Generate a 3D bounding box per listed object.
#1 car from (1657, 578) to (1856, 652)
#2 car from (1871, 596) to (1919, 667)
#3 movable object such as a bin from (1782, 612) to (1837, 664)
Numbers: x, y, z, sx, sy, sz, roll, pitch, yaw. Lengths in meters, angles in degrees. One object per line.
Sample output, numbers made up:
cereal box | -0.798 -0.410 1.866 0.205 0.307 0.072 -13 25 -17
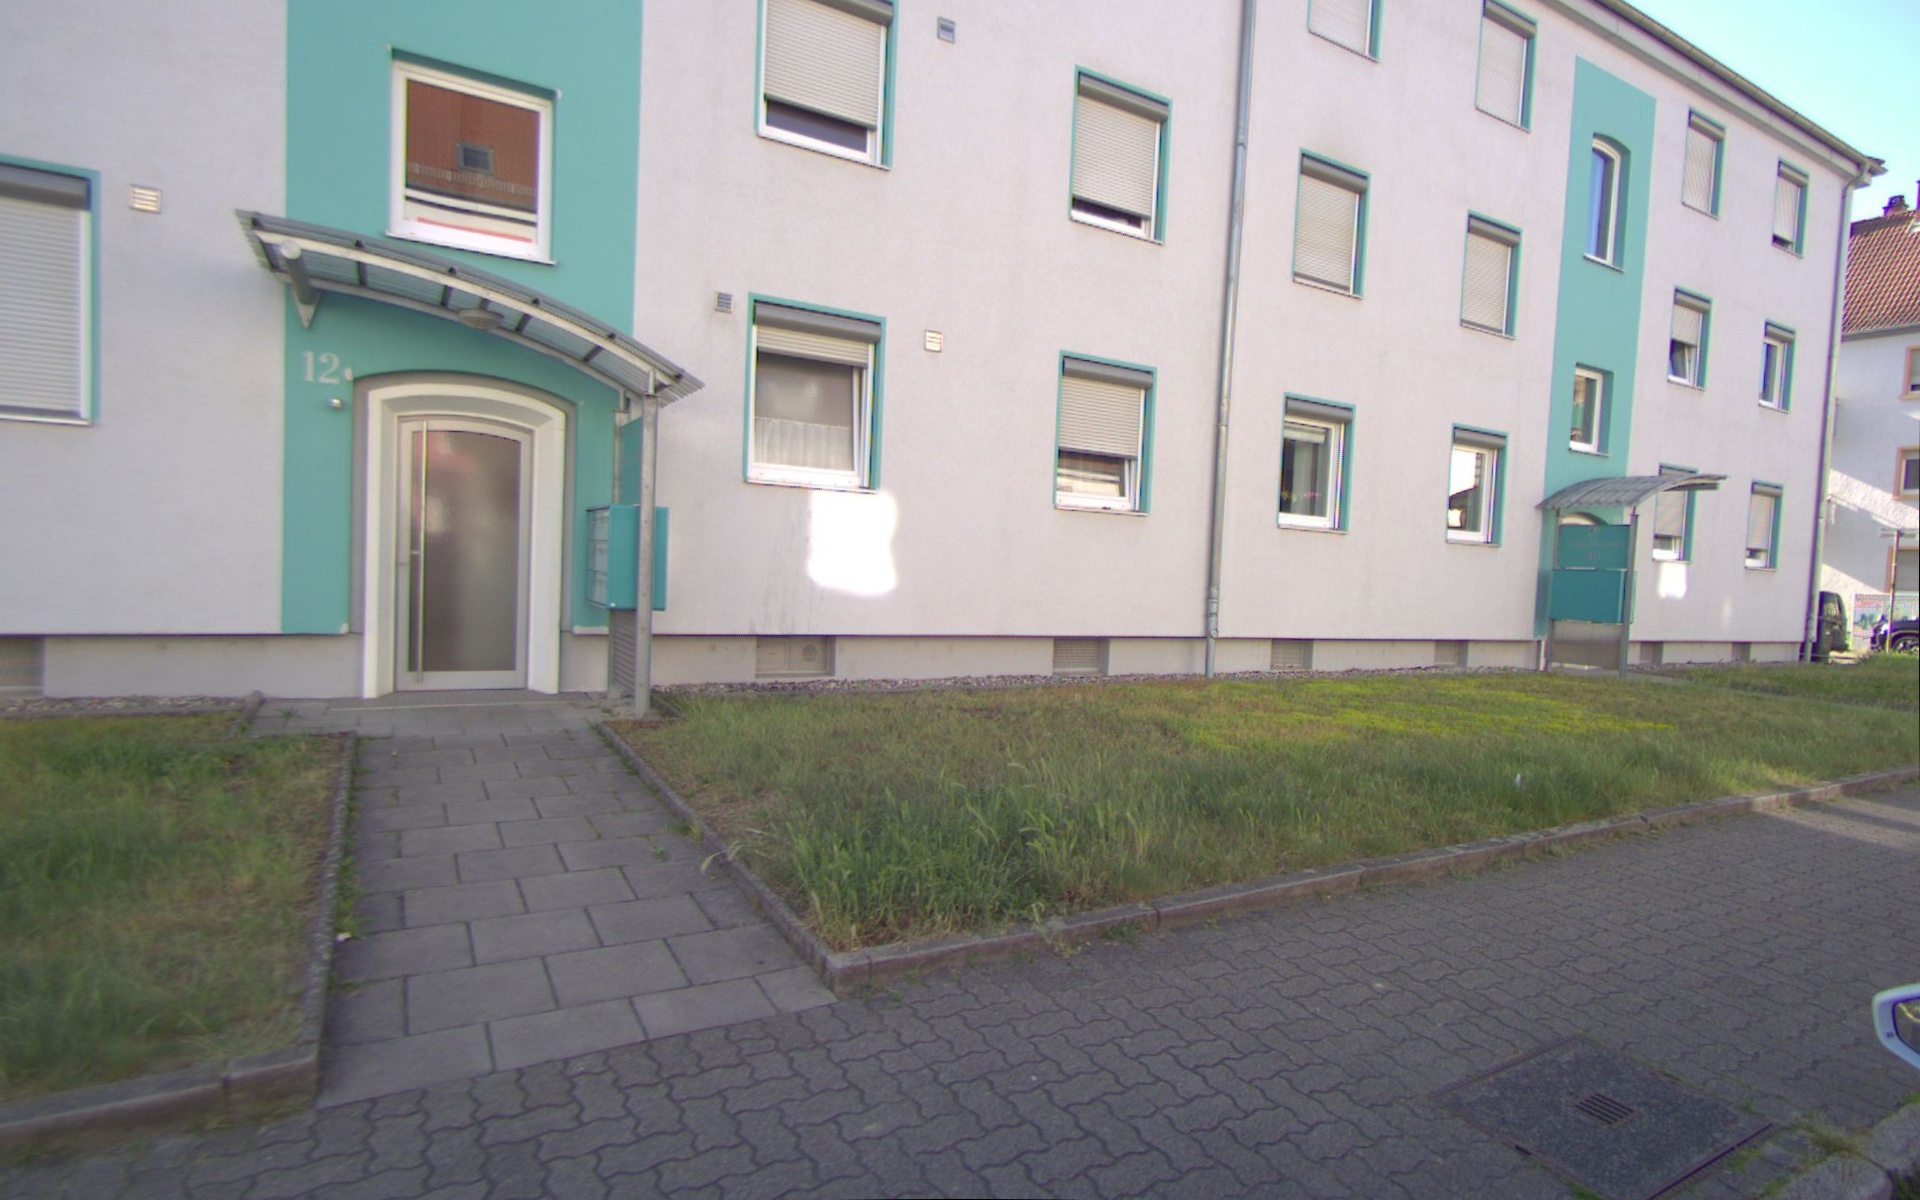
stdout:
car | 22.270 0.384 28.233 1.699 1.812 3.971 3 1 -30
car | 24.828 0.878 23.774 1.699 1.685 4.466 3 1 -30
movable object such as a bin | 17.422 0.776 20.598 0.707 1.005 0.609 1 3 -32
